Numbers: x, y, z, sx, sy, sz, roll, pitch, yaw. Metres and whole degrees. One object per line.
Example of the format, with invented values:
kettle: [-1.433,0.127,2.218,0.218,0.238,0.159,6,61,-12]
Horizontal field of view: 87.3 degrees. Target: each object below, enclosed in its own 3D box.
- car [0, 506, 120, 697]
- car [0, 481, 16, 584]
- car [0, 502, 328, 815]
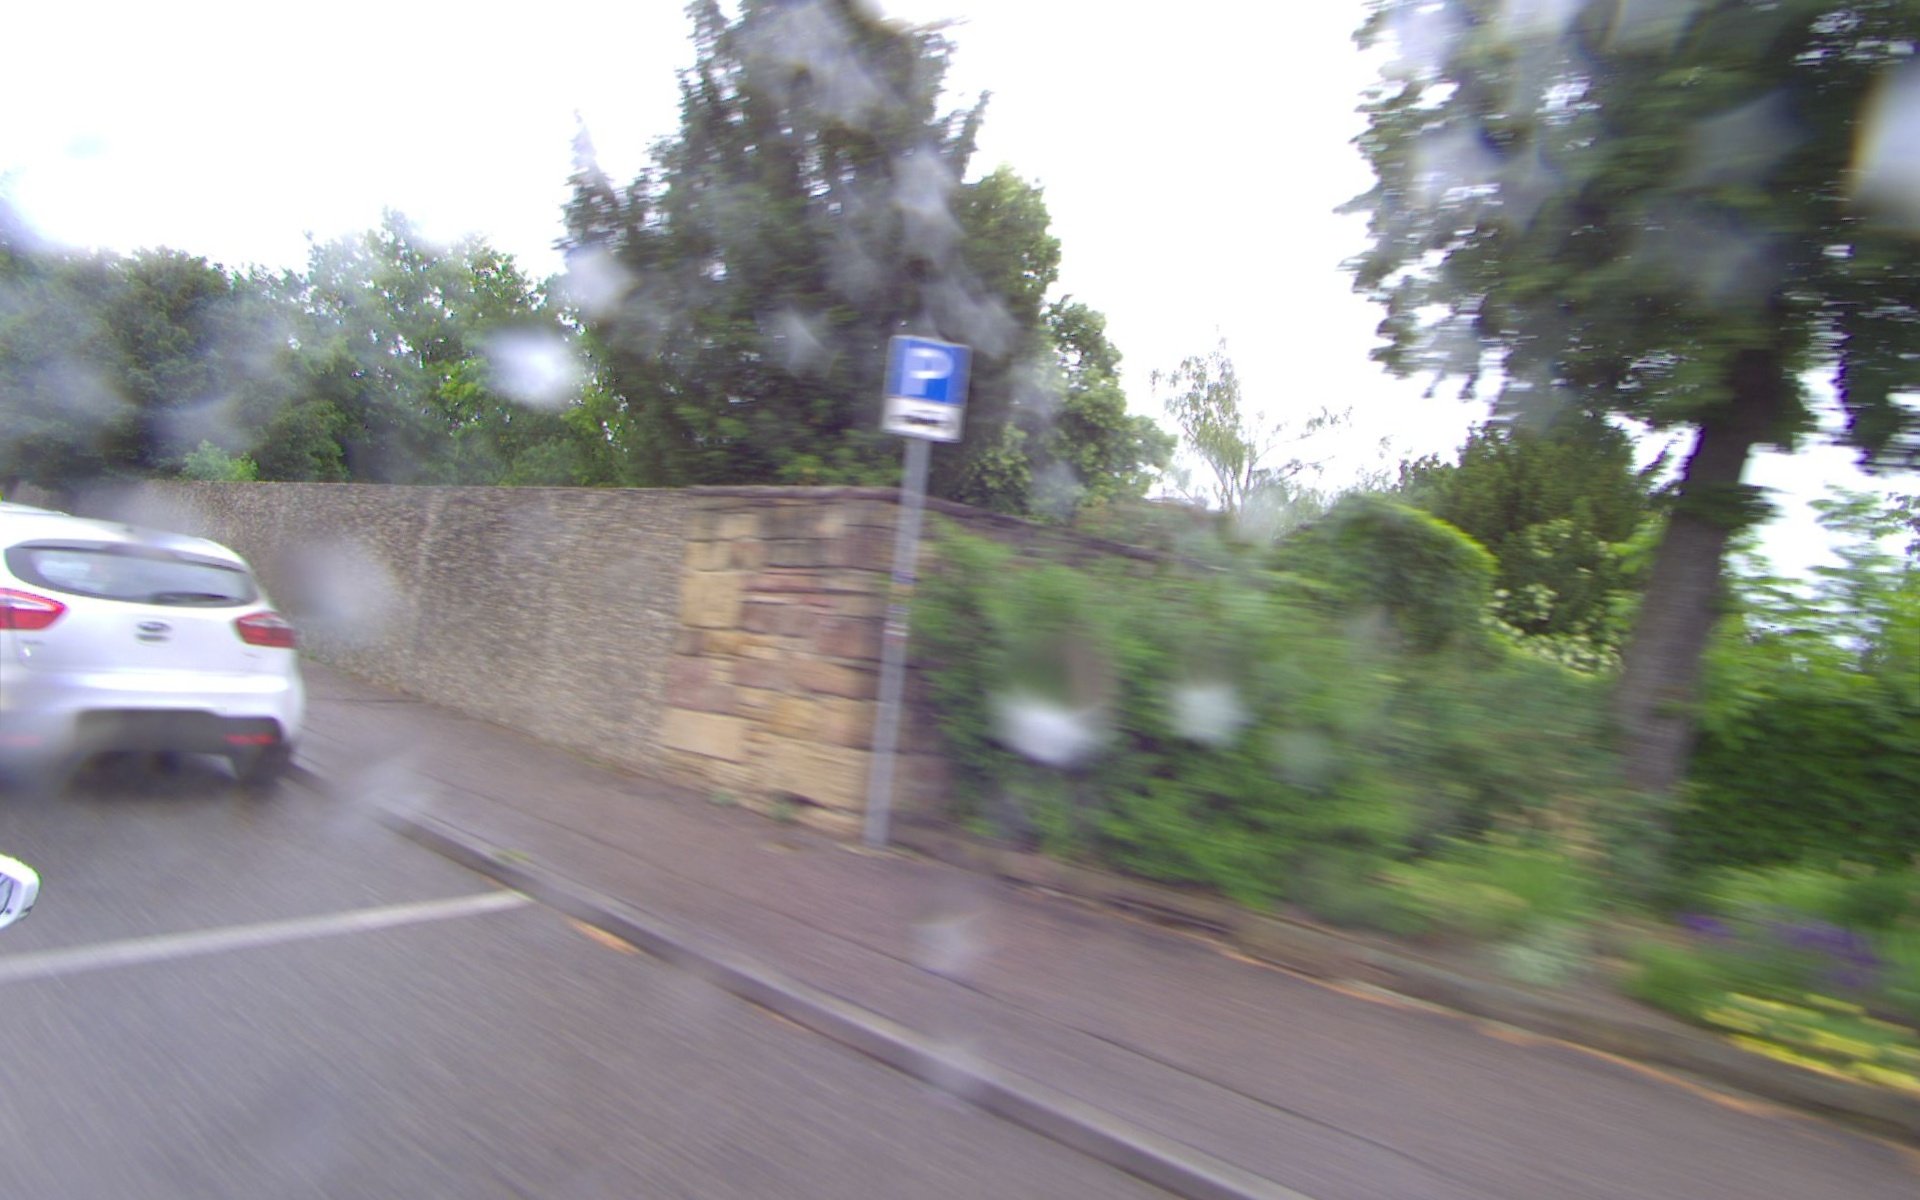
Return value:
car: [-9.490,-0.184,9.428,3.942,1.478,1.647,7,-3,40]
car: [-13.989,-0.829,13.276,4.077,1.760,1.637,5,-3,41]
car: [-5.831,0.195,6.465,3.978,1.497,1.612,6,-3,38]
